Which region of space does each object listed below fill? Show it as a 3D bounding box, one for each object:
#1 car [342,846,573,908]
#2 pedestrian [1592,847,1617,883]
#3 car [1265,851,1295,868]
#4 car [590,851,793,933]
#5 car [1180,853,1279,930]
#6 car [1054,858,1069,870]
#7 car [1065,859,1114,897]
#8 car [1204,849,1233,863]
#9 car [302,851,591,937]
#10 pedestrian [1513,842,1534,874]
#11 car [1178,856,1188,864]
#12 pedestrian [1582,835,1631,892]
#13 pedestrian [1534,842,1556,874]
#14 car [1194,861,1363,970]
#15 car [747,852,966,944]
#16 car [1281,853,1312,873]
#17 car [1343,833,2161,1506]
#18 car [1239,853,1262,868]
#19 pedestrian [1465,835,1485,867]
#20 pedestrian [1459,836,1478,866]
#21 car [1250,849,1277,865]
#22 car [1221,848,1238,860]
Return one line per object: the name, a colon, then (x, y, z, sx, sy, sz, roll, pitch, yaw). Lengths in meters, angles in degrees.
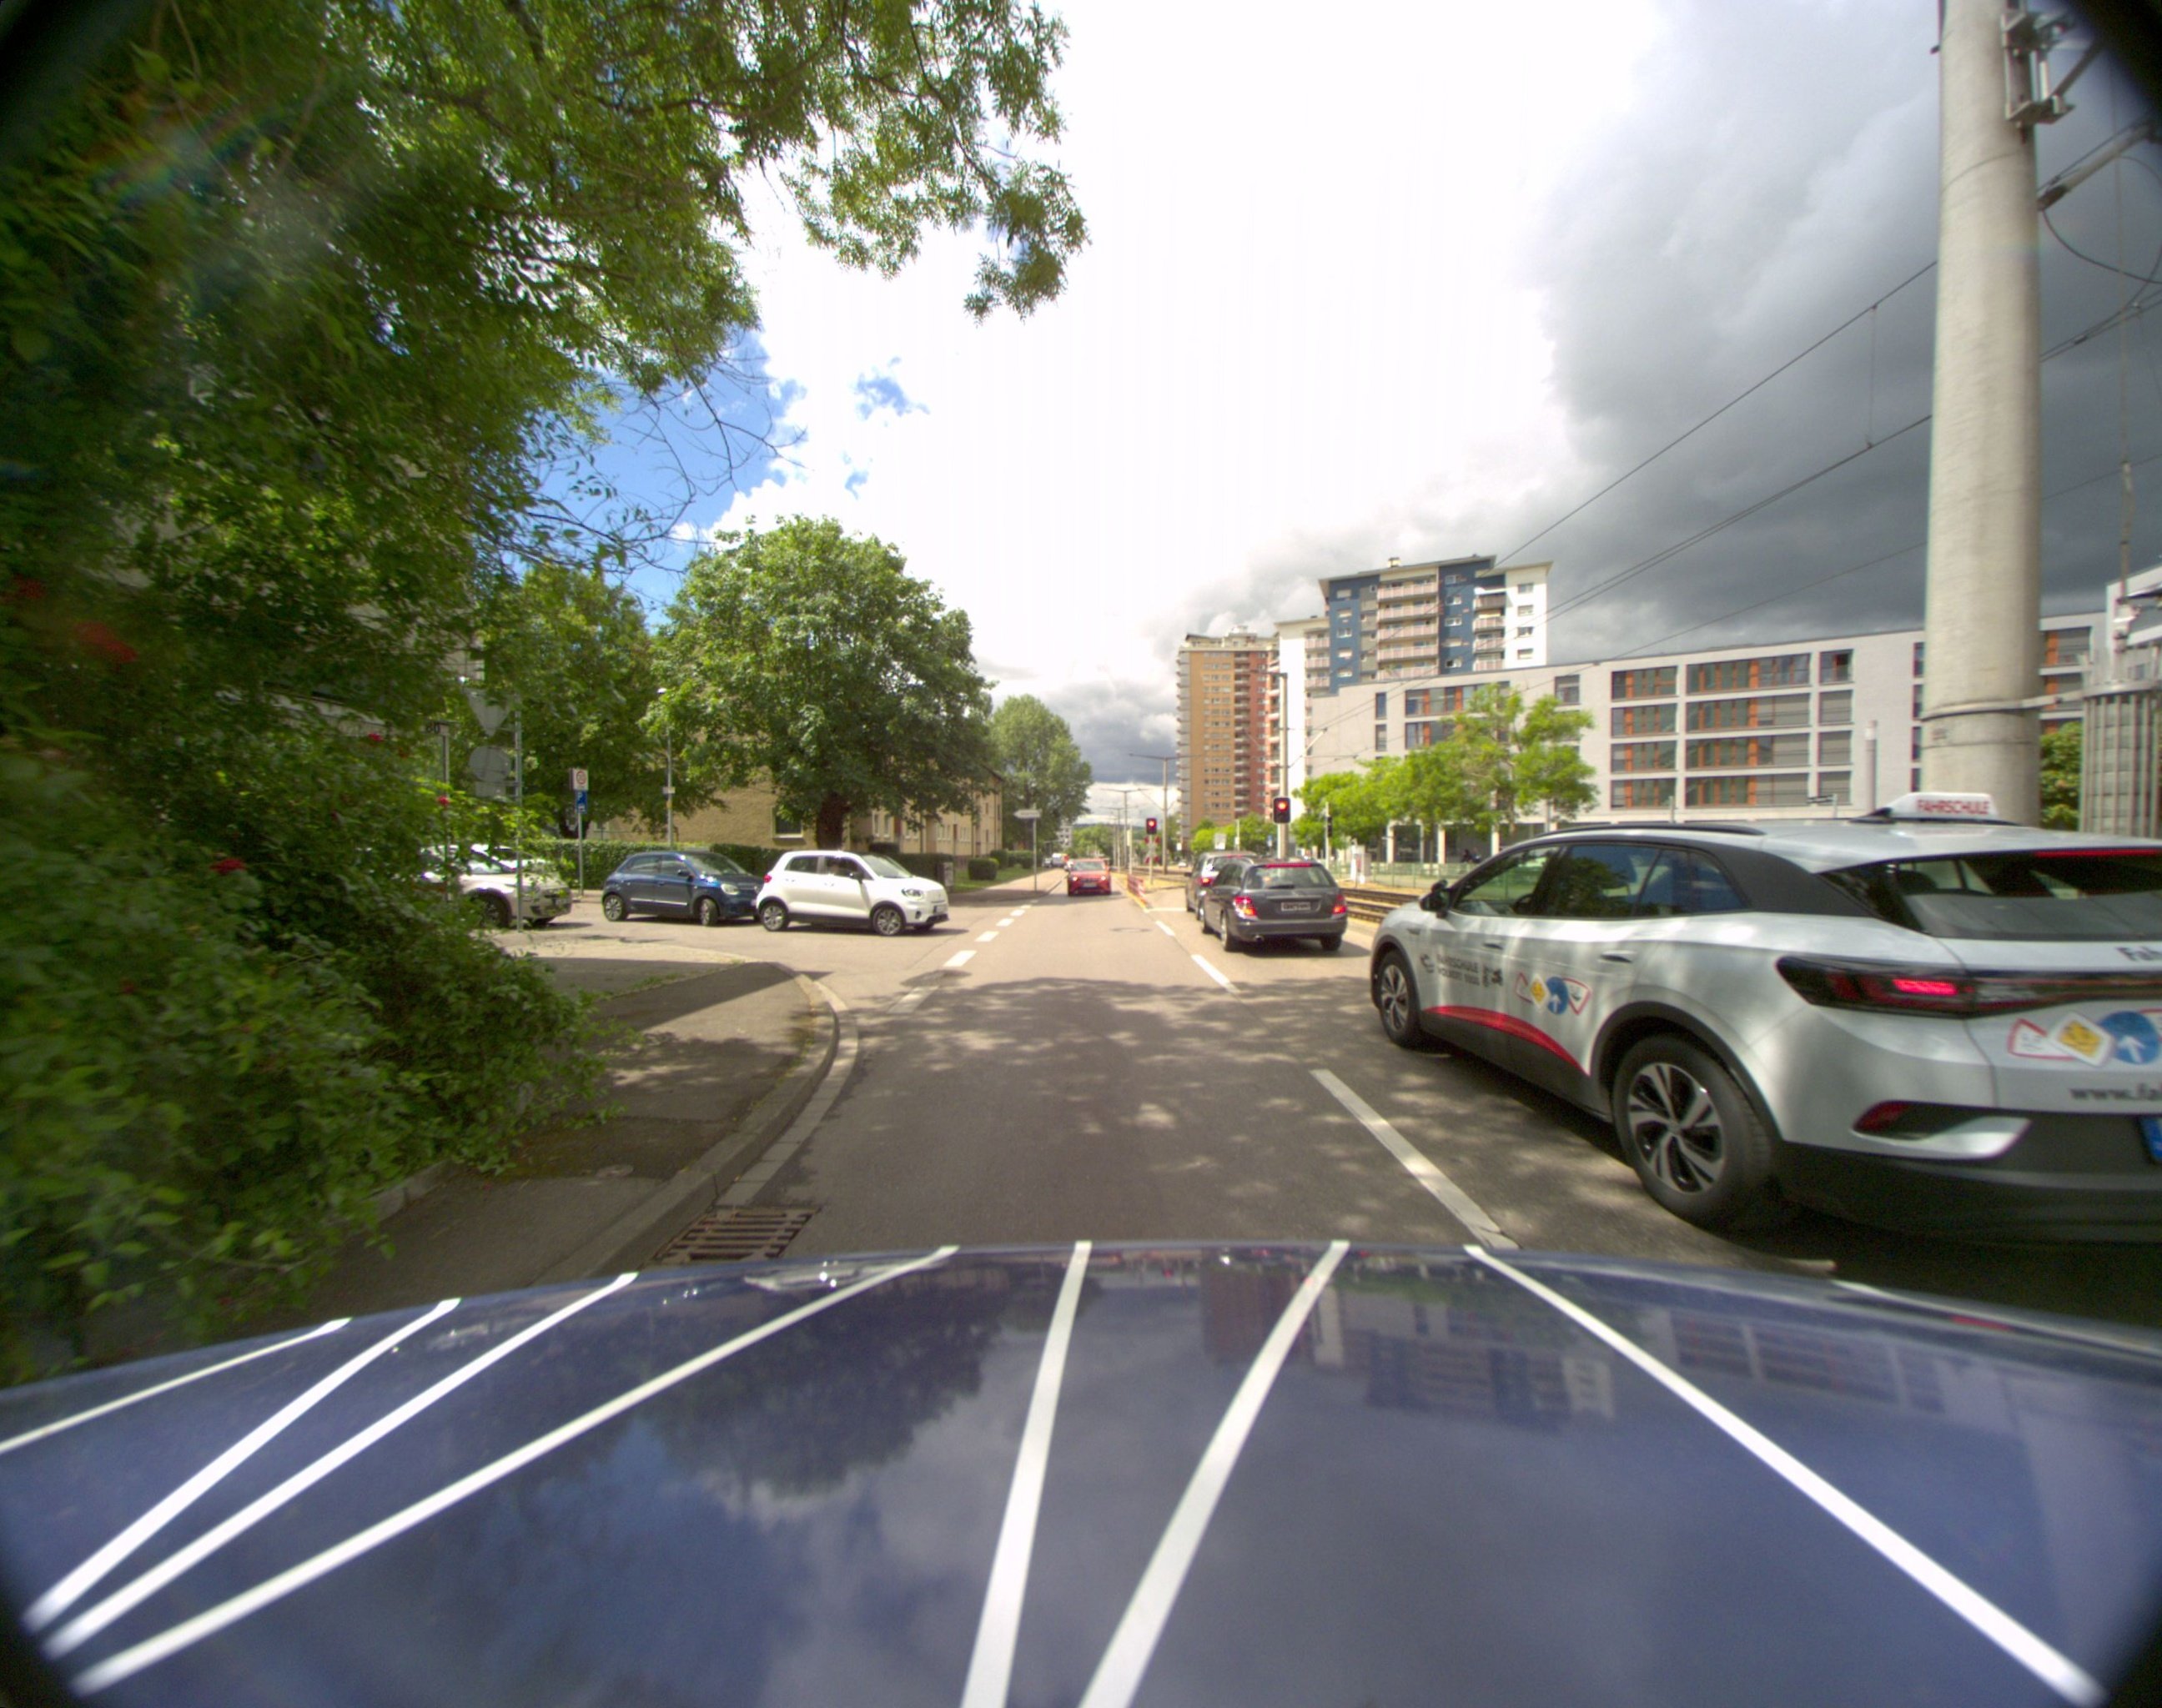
car: (-16.383, 0.579, 20.136, 4.534, 1.495, 1.852, 1, 0, -1)
pedestrian: (23.862, 0.499, 34.646, 0.538, 1.601, 0.748, -2, 1, -21)
car: (18.647, 0.497, 71.386, 1.893, 1.530, 3.804, -1, 0, 2)
car: (-8.372, 0.738, 16.414, 3.641, 1.562, 1.844, 1, 1, 18)
car: (3.562, 0.837, 18.963, 1.861, 1.650, 4.176, -1, 0, 3)
car: (-2.768, 1.443, 108.748, 1.843, 1.648, 3.789, -1, 0, 1)
car: (0.405, 0.908, 29.848, 1.791, 1.387, 4.243, -1, -1, 2)
car: (20.810, 0.321, 114.979, 4.505, 1.914, 1.877, -2, 1, -39)
car: (-11.996, 0.735, 14.612, 3.936, 1.510, 1.802, 1, 0, -5)
pedestrian: (28.641, 0.248, 49.153, 0.734, 2.002, 0.910, -2, 1, -17)
car: (20.620, 1.196, 153.701, 1.780, 1.491, 3.805, -1, 0, 6)
pedestrian: (15.308, 0.276, 22.145, 0.756, 1.603, 0.938, -1, 1, 1)
pedestrian: (29.241, 0.236, 47.921, 0.734, 2.002, 0.910, -2, 1, -17)
car: (3.082, 0.880, 12.822, 1.815, 1.437, 4.465, -1, 0, 2)
car: (-4.311, 0.784, 14.814, 3.642, 1.562, 1.843, 1, 1, 13)
car: (18.403, 0.762, 65.045, 1.893, 1.613, 3.805, -1, 0, 5)
car: (3.137, 0.775, 4.124, 1.862, 1.680, 4.433, -1, 0, 0)
car: (18.709, 0.730, 83.950, 1.781, 1.530, 3.803, -1, 0, 1)
pedestrian: (21.111, -0.165, 40.696, 0.749, 1.644, 0.538, -1, 1, 1)
pedestrian: (21.101, -0.168, 41.420, 0.749, 1.644, 0.538, -1, 1, 1)
car: (18.615, 0.298, 77.642, 1.781, 1.530, 3.803, -1, 0, 1)
car: (21.560, 0.036, 110.578, 1.781, 1.650, 3.803, -1, 0, 1)
